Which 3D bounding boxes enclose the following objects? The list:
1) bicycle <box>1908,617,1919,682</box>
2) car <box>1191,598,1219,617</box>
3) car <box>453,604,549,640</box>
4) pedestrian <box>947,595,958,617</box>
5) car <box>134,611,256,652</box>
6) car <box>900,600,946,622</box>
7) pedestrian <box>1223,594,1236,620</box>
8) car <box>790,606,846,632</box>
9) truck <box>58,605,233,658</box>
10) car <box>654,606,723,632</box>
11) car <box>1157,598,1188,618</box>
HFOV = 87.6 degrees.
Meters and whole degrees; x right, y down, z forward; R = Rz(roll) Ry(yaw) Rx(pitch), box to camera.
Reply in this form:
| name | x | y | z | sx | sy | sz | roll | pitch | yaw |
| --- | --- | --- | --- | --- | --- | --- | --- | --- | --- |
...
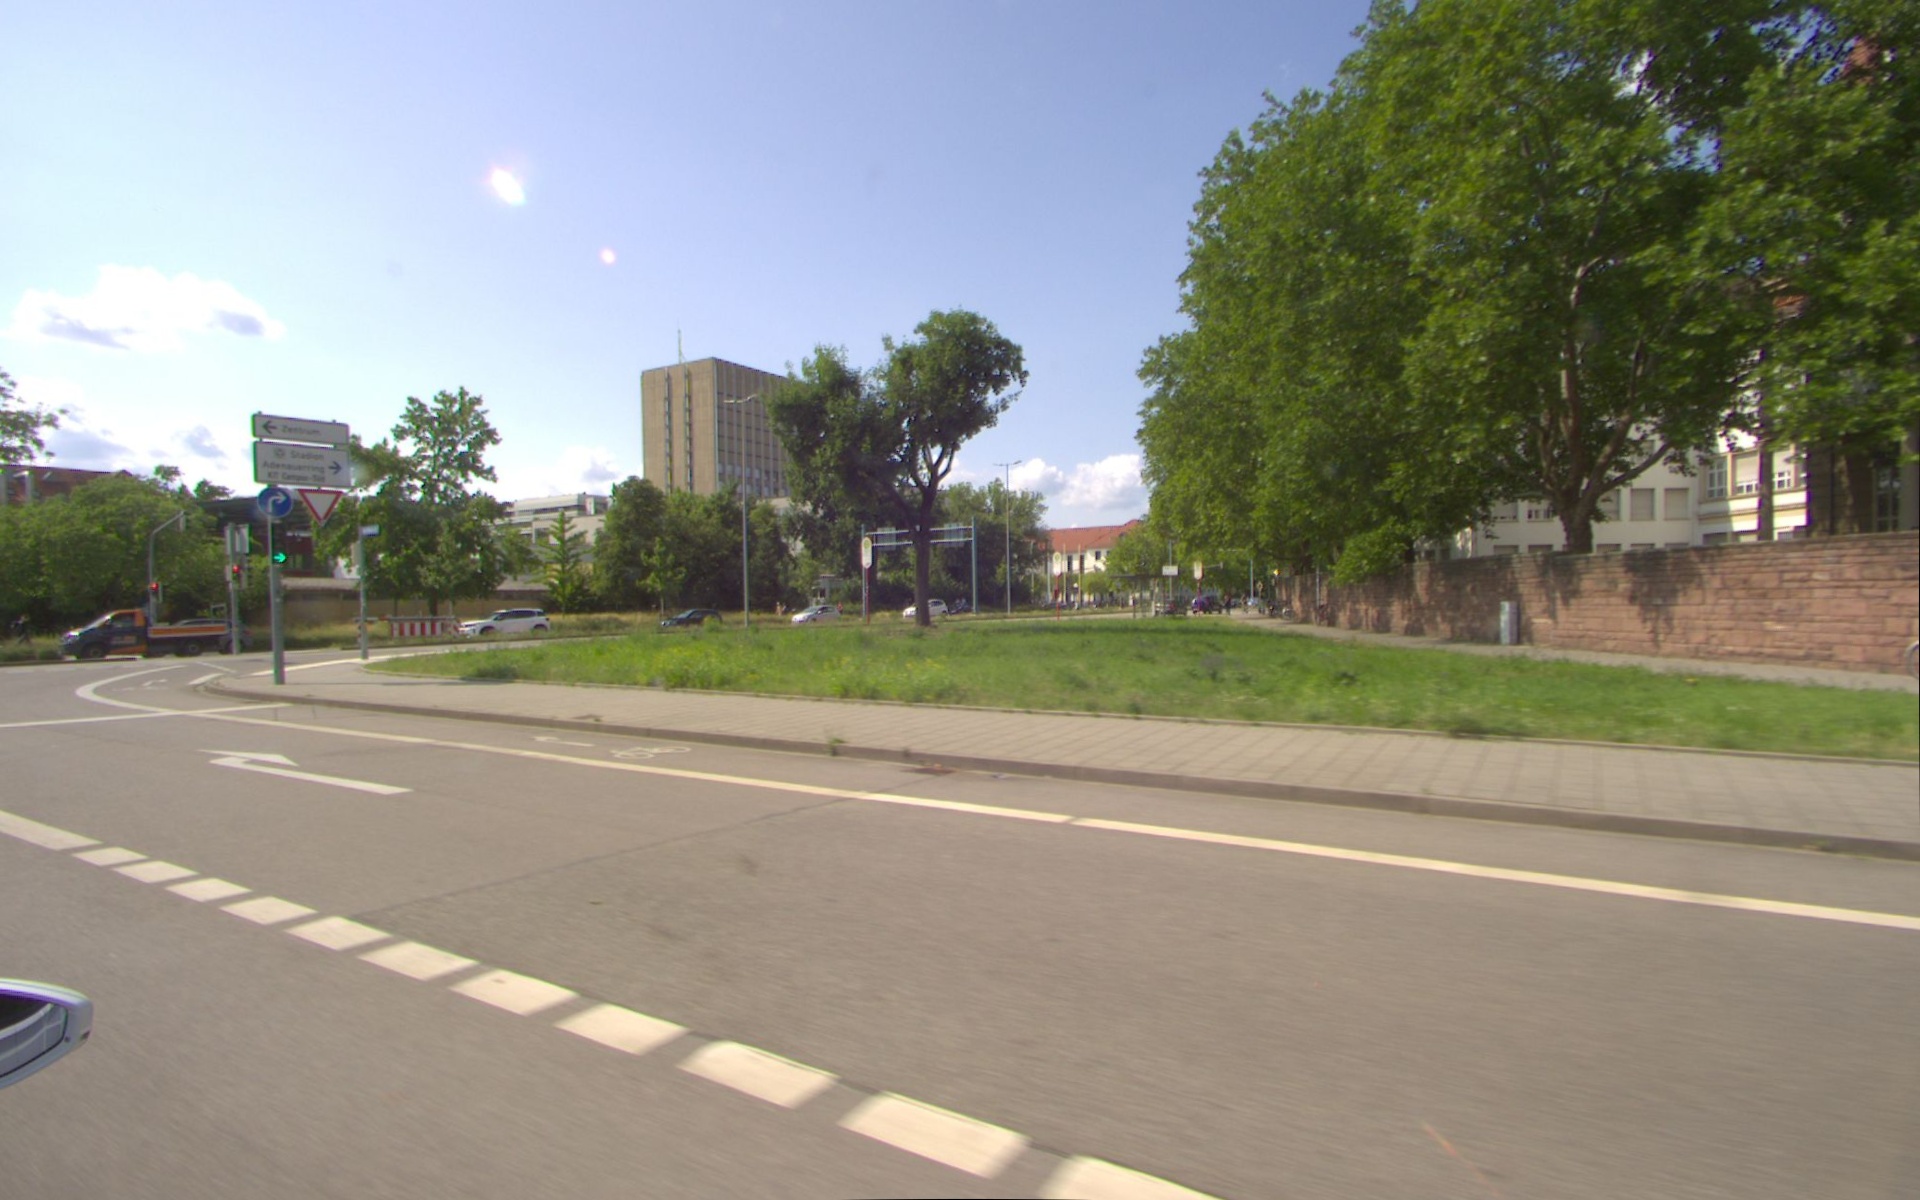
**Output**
| name | x | y | z | sx | sy | sz | roll | pitch | yaw |
| --- | --- | --- | --- | --- | --- | --- | --- | --- | --- |
| bicycle | 15.046 | 0.750 | 14.690 | 0.633 | 0.988 | 1.593 | -3 | 1 | -9 |
| car | 22.755 | 0.689 | 92.765 | 1.601 | 1.631 | 3.907 | -1 | 1 | 28 |
| car | -23.079 | 1.081 | 50.463 | 1.604 | 1.631 | 4.138 | 0 | 1 | 35 |
| pedestrian | -0.678 | 0.546 | 87.443 | 0.890 | 1.908 | 0.946 | -1 | 1 | 2 |
| car | -33.004 | 1.323 | 43.272 | 1.607 | 1.631 | 3.892 | 0 | 1 | 40 |
| car | -2.911 | 0.848 | 79.828 | 1.604 | 1.631 | 3.995 | 0 | 1 | 35 |
| pedestrian | 19.616 | 0.499 | 72.950 | 0.891 | 1.908 | 0.945 | 0 | 1 | 14 |
| car | -9.834 | 1.298 | 69.464 | 1.605 | 1.631 | 3.897 | 0 | 1 | 36 |
| truck | -32.052 | 1.183 | 39.551 | 1.977 | 1.862 | 5.091 | 0 | 1 | 40 |
| car | -16.281 | 1.092 | 60.148 | 1.604 | 1.438 | 3.899 | 0 | 1 | 35 |
| car | 18.372 | 0.680 | 86.509 | 1.601 | 1.631 | 3.907 | -1 | 1 | 28 |
